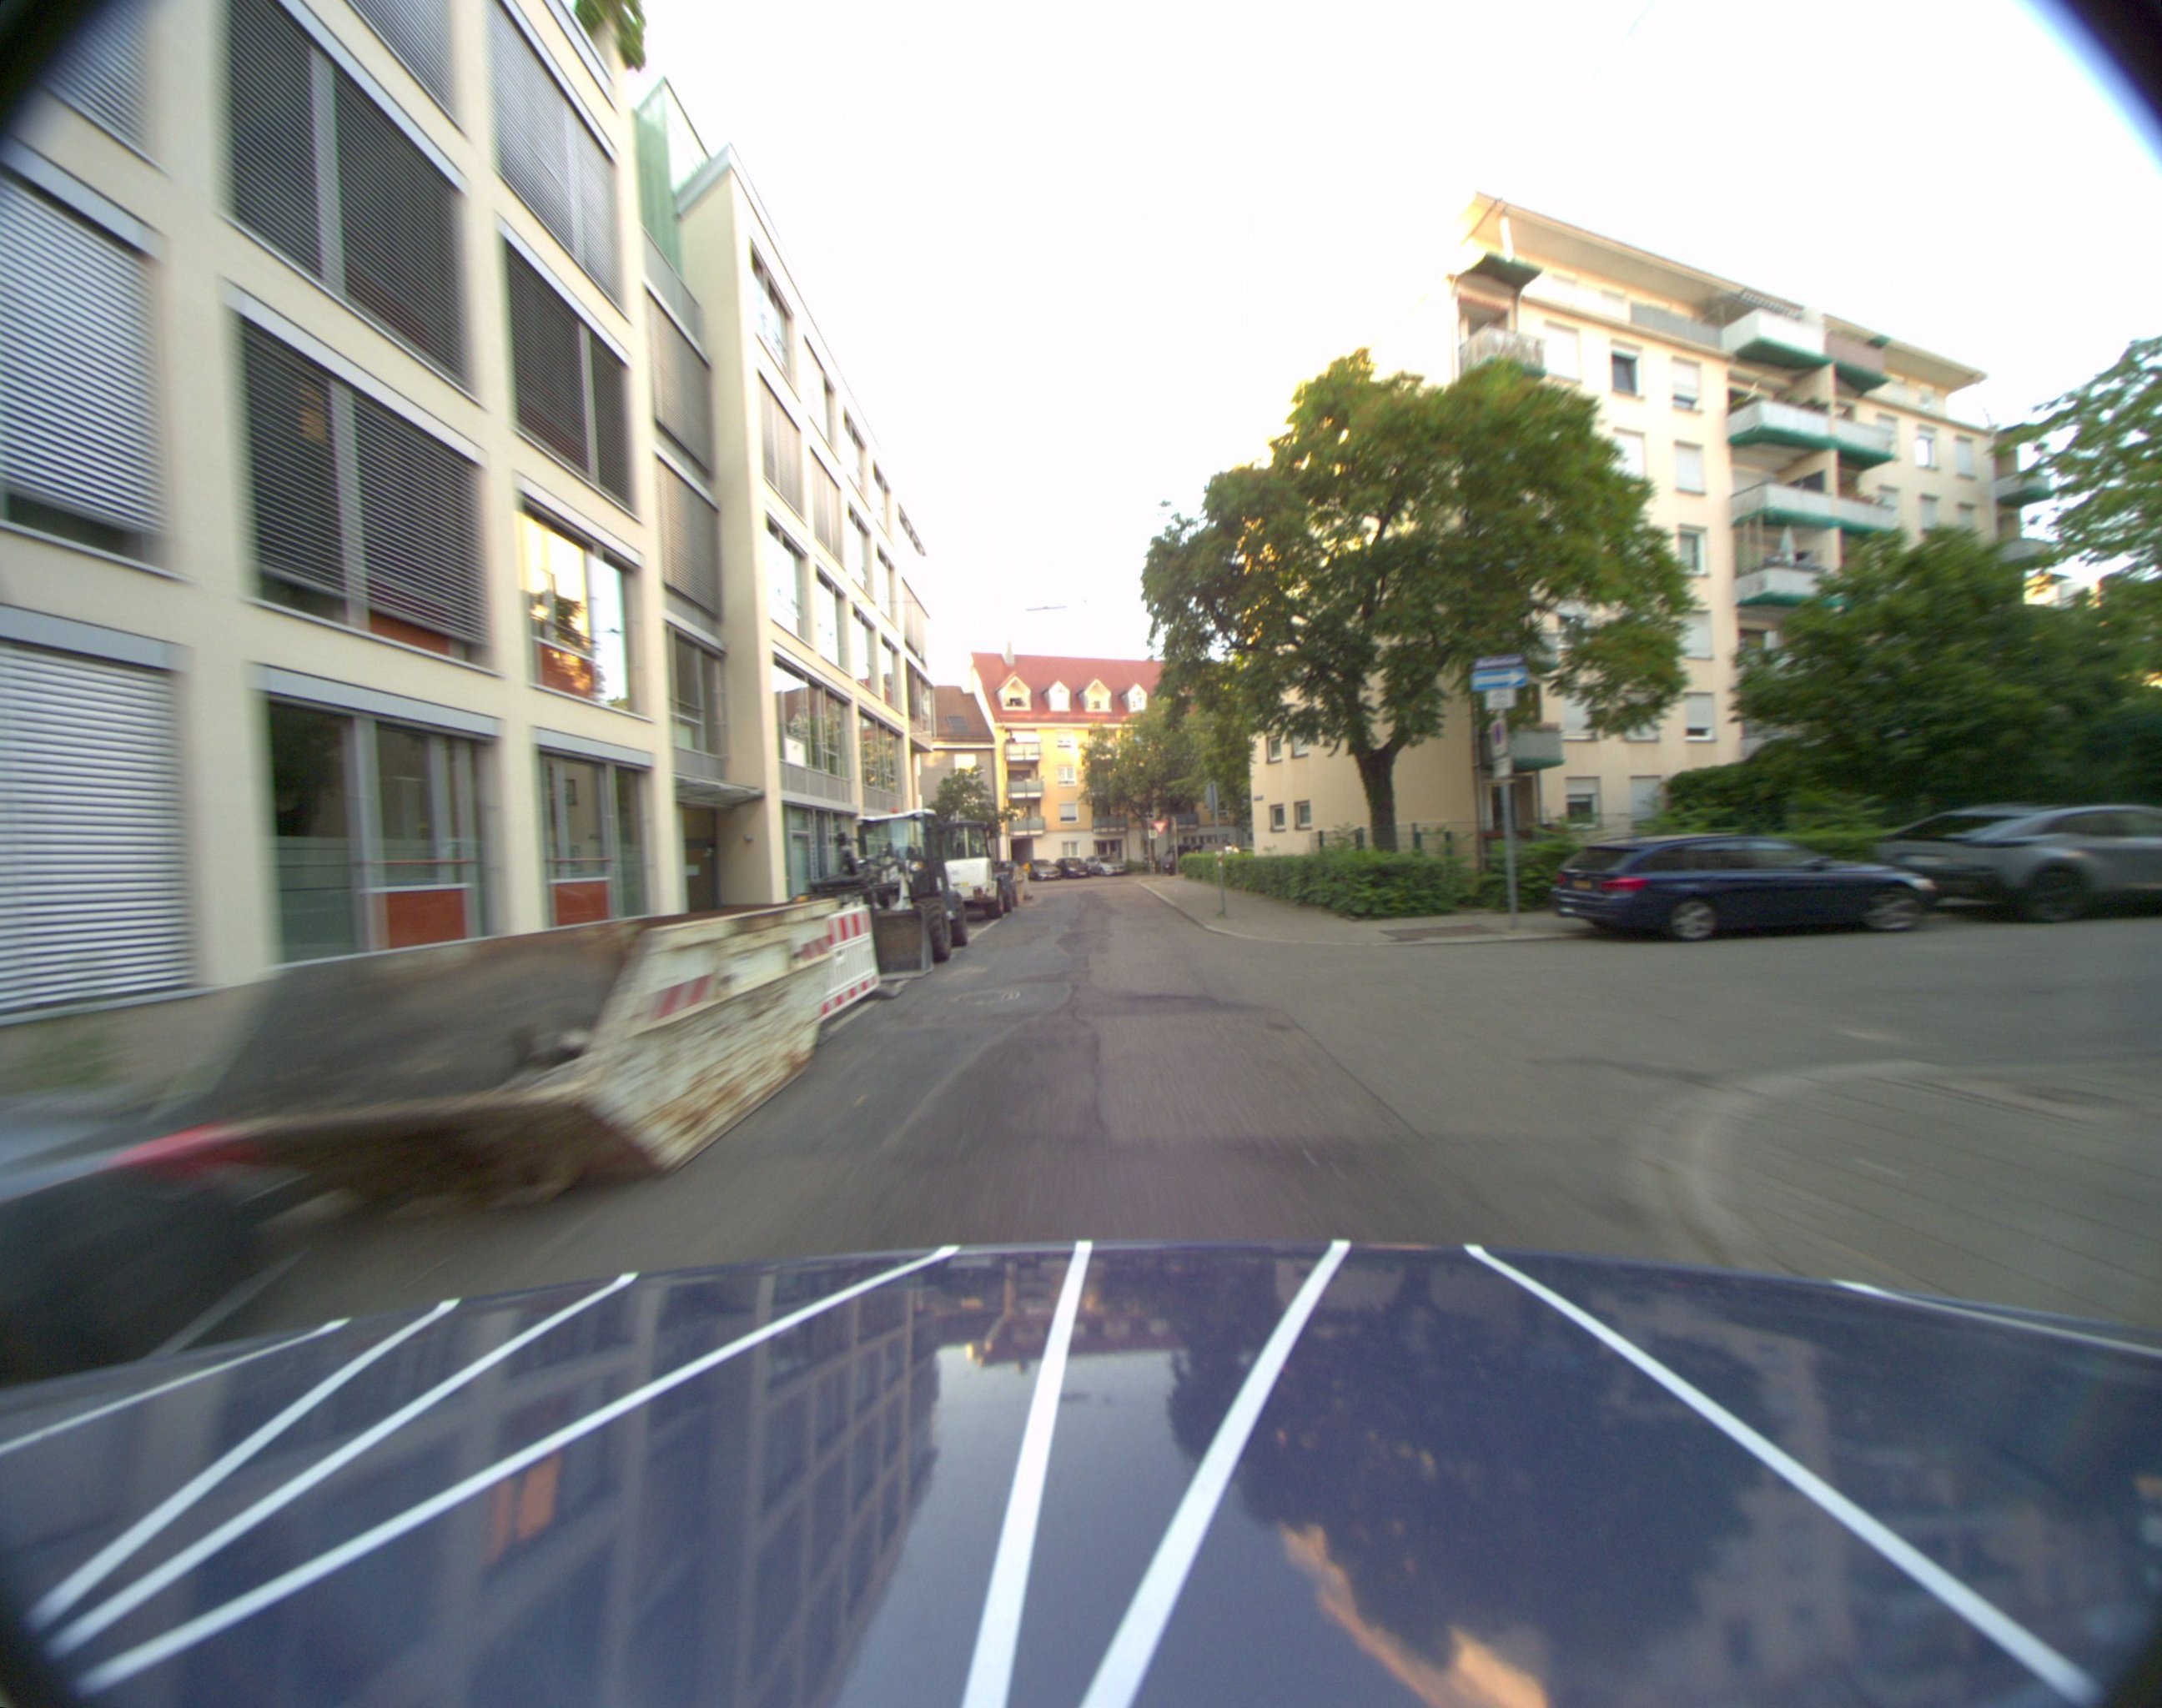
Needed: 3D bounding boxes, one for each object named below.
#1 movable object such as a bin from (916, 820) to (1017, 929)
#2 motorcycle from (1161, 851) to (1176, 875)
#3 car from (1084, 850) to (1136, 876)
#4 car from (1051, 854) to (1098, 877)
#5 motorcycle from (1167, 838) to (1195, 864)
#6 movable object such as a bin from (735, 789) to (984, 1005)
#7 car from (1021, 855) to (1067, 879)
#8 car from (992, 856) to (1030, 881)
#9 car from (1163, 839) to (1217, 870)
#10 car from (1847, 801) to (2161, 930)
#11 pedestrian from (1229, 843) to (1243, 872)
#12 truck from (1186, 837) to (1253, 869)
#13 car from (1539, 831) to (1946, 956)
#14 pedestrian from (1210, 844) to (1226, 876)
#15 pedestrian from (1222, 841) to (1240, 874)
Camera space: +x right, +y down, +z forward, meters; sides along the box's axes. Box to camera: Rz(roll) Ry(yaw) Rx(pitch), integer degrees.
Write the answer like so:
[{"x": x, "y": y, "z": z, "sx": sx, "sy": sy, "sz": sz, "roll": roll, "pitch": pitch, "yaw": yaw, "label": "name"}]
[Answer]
[{"x": -3.010, "y": 0.496, "z": 20.825, "sx": 1.800, "sy": 2.619, "sz": 4.111, "roll": -3, "pitch": 0, "yaw": 3, "label": "movable object such as a bin"}, {"x": 5.118, "y": 0.517, "z": 44.386, "sx": 0.722, "sy": 1.366, "sz": 2.226, "roll": -3, "pitch": 0, "yaw": 9, "label": "motorcycle"}, {"x": 2.045, "y": 0.693, "z": 55.882, "sx": 1.838, "sy": 1.694, "sz": 4.803, "roll": -3, "pitch": 0, "yaw": -23, "label": "car"}, {"x": -0.495, "y": 0.848, "z": 54.550, "sx": 1.855, "sy": 1.554, "sz": 4.073, "roll": -3, "pitch": 0, "yaw": -23, "label": "car"}, {"x": 6.044, "y": -0.153, "z": 46.110, "sx": 0.692, "sy": 1.485, "sz": 2.221, "roll": -3, "pitch": 0, "yaw": -20, "label": "motorcycle"}, {"x": -3.126, "y": 0.533, "z": 12.274, "sx": 2.171, "sy": 2.581, "sz": 5.543, "roll": -3, "pitch": 0, "yaw": 1, "label": "movable object such as a bin"}, {"x": -2.666, "y": 0.936, "z": 53.756, "sx": 1.874, "sy": 1.499, "sz": 4.286, "roll": -3, "pitch": 0, "yaw": -22, "label": "car"}, {"x": -4.911, "y": 0.988, "z": 52.816, "sx": 1.747, "sy": 1.517, "sz": 3.355, "roll": -3, "pitch": 2, "yaw": -21, "label": "car"}, {"x": 8.252, "y": -0.018, "z": 57.913, "sx": 2.038, "sy": 2.122, "sz": 4.624, "roll": -3, "pitch": 4, "yaw": -21, "label": "car"}, {"x": 14.506, "y": 0.115, "z": 11.216, "sx": 4.380, "sy": 1.630, "sz": 1.829, "roll": -3, "pitch": 0, "yaw": 3, "label": "car"}, {"x": 8.609, "y": 0.205, "z": 42.127, "sx": 0.448, "sy": 1.563, "sz": 0.660, "roll": -3, "pitch": 1, "yaw": -17, "label": "pedestrian"}, {"x": 10.697, "y": -0.154, "z": 59.112, "sx": 2.263, "sy": 2.122, "sz": 6.010, "roll": -3, "pitch": 4, "yaw": -21, "label": "truck"}, {"x": 9.271, "y": 0.521, "z": 10.901, "sx": 4.356, "sy": 1.449, "sz": 1.686, "roll": -3, "pitch": 1, "yaw": 0, "label": "car"}, {"x": 7.856, "y": 0.353, "z": 43.648, "sx": 0.697, "sy": 1.777, "sz": 0.530, "roll": -3, "pitch": 0, "yaw": 28, "label": "pedestrian"}, {"x": 8.475, "y": 0.199, "z": 43.003, "sx": 0.666, "sy": 1.777, "sz": 0.698, "roll": -3, "pitch": 0, "yaw": -17, "label": "pedestrian"}]
